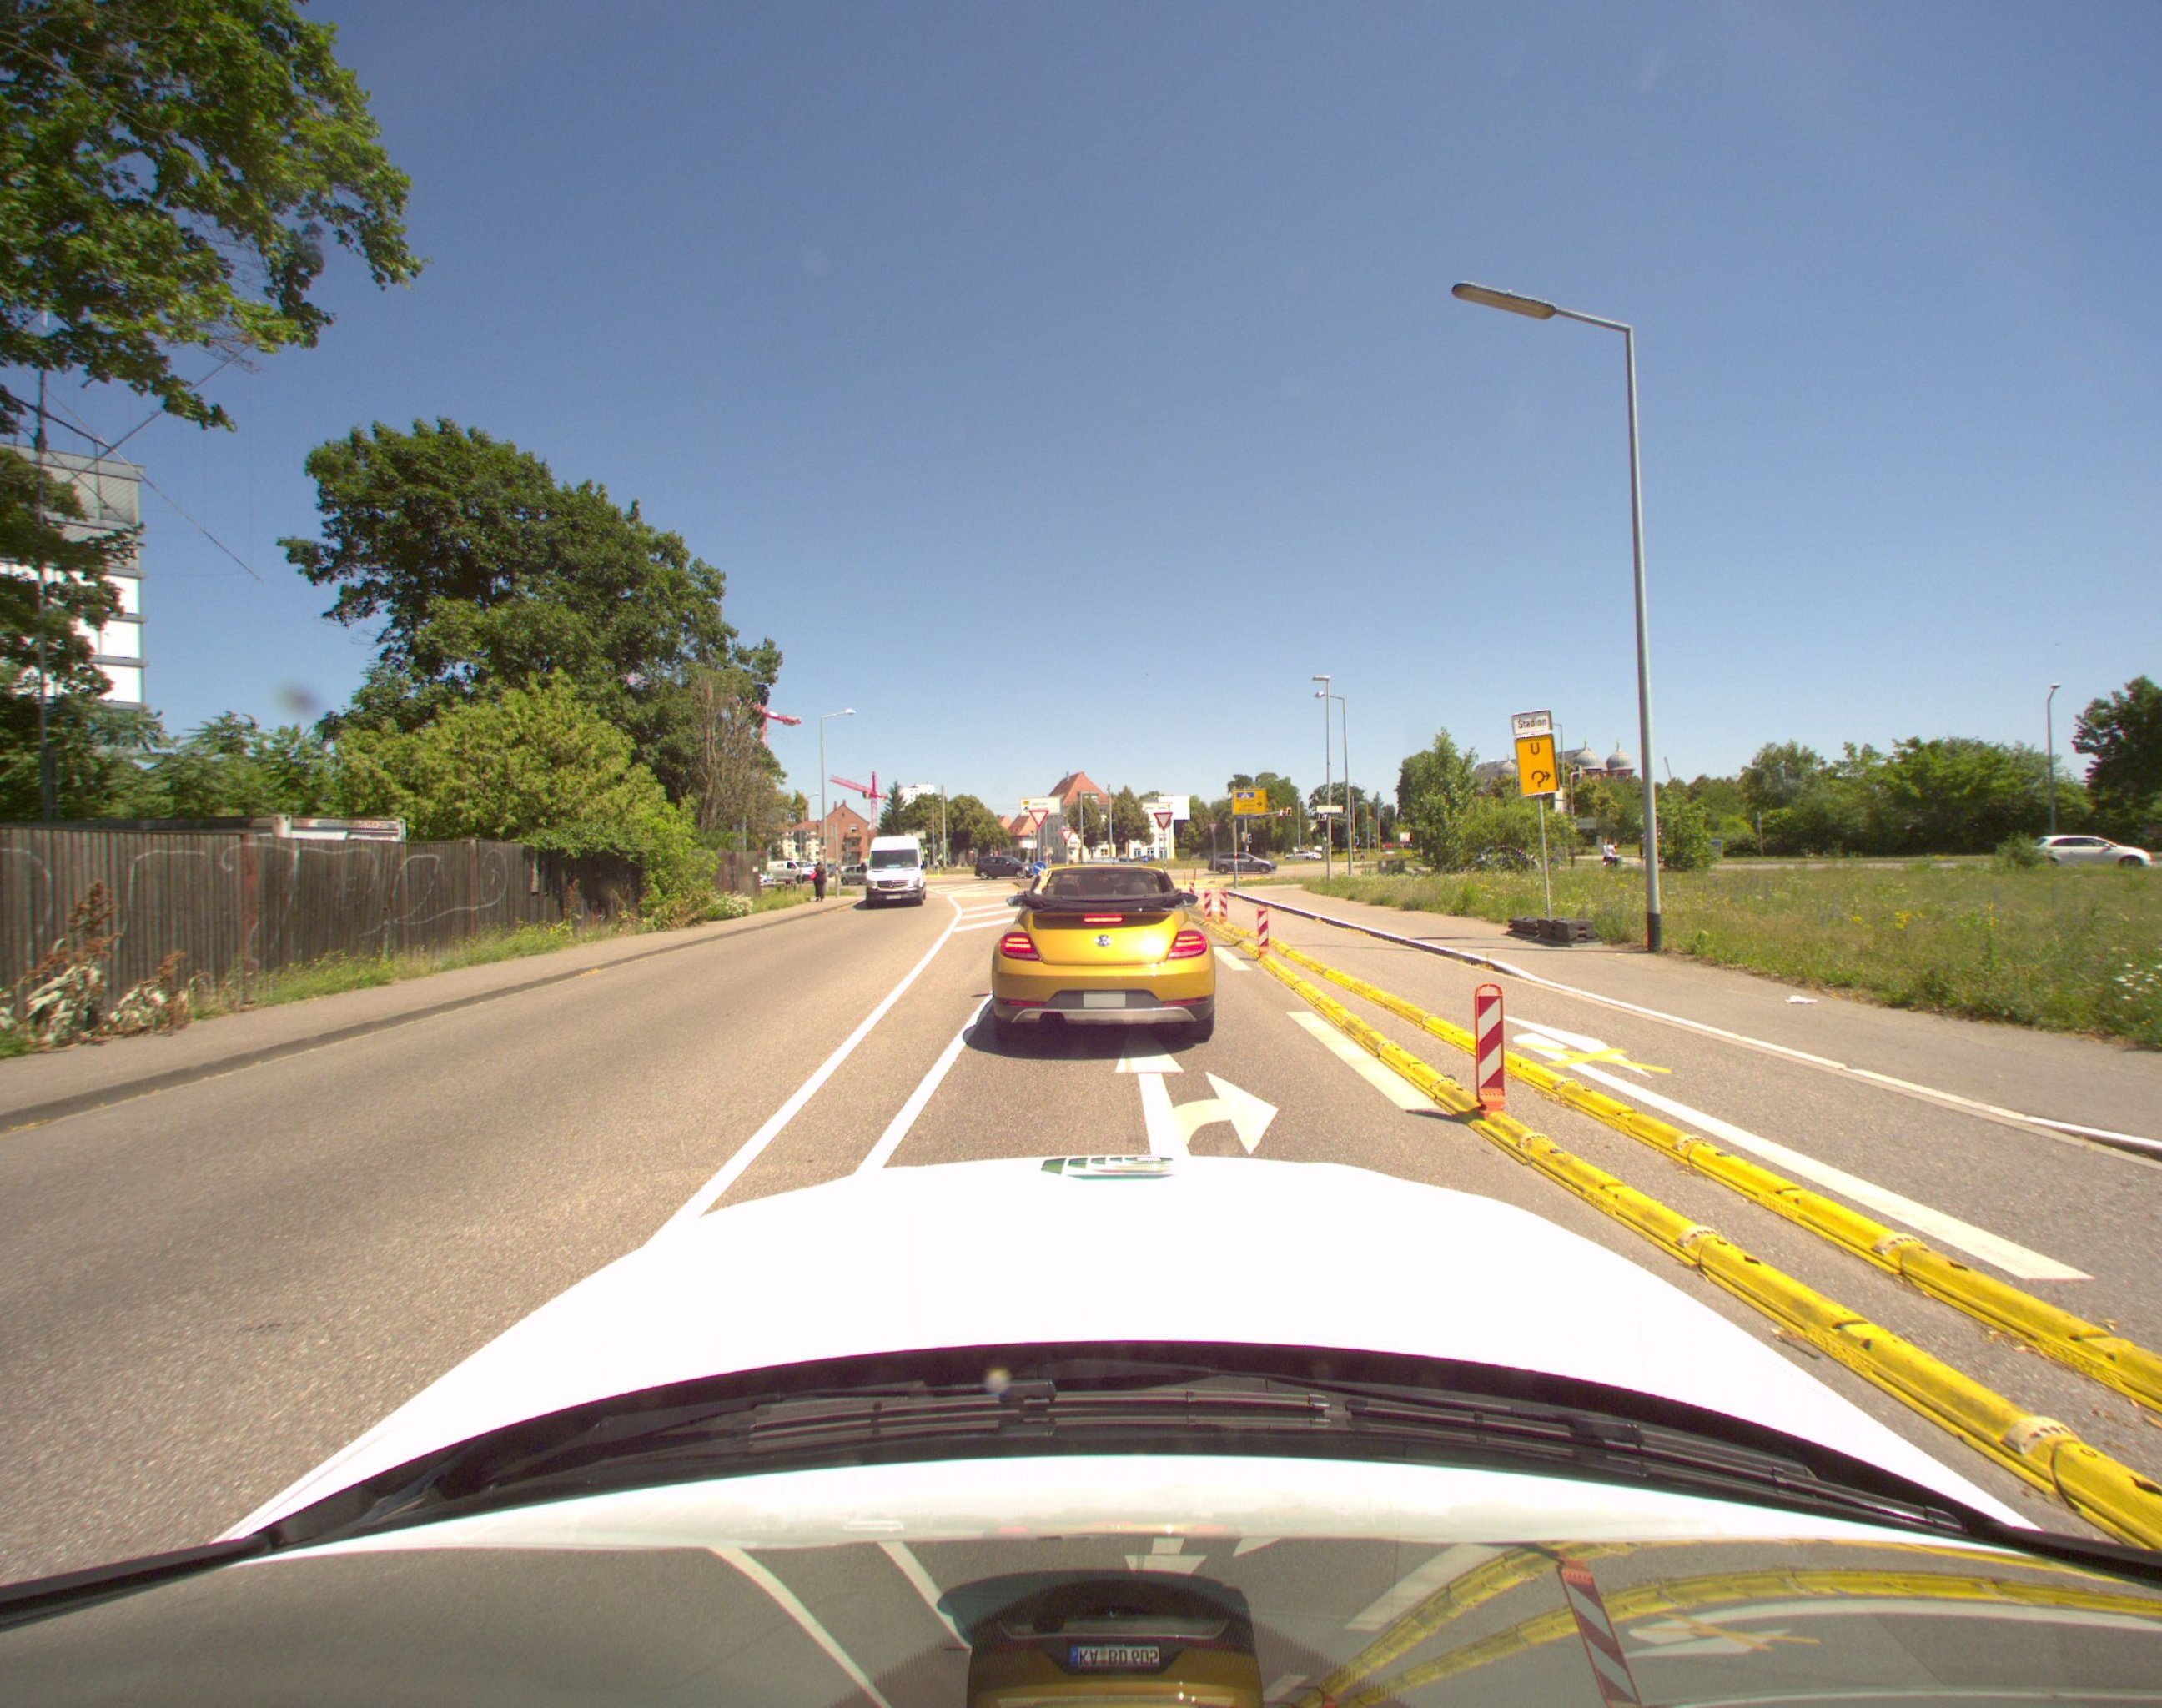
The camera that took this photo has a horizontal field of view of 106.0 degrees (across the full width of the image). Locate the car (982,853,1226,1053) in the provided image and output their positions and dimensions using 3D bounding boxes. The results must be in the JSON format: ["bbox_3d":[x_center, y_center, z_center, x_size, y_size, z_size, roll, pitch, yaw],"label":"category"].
[{"bbox_3d":[0.218,0.727,7.777,1.746,1.422,3.778,-1,0,1],"label":"car"}]

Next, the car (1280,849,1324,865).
[{"bbox_3d":[28.477,0.400,104.832,2.037,1.786,5.118,-2,-1,-42],"label":"car"}]

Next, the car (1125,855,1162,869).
[{"bbox_3d":[8.904,1.146,116.191,4.873,1.786,2.037,-3,0,22],"label":"car"}]

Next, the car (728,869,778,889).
[{"bbox_3d":[-24.971,1.909,61.951,3.969,1.444,1.643,-1,-1,34],"label":"car"}]

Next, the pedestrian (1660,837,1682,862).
[{"bbox_3d":[38.260,-0.288,52.831,0.789,1.563,0.823,-1,-1,3],"label":"pedestrian"}]

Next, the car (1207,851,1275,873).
[{"bbox_3d":[10.572,0.511,53.798,4.161,1.391,1.910,-1,-1,17],"label":"car"}]

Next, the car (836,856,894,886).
[{"bbox_3d":[-14.818,1.157,55.836,3.632,1.850,1.642,-3,-1,26],"label":"car"}]

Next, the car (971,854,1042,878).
[{"bbox_3d":[-5.075,0.832,55.916,4.402,1.596,2.007,-1,-1,13],"label":"car"}]

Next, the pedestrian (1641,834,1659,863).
[{"bbox_3d":[36.788,-0.360,52.674,0.647,1.870,0.737,-1,-1,3],"label":"pedestrian"}]

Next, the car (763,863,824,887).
[{"bbox_3d":[-23.091,1.642,65.358,4.922,1.850,2.013,-1,-1,32],"label":"car"}]

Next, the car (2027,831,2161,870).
[{"bbox_3d":[43.040,-0.116,34.222,3.948,1.552,1.751,-1,-1,32],"label":"car"}]

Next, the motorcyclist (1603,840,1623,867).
[{"bbox_3d":[26.177,-0.029,40.077,0.616,1.289,0.576,0,-1,-28],"label":"motorcyclist"}]

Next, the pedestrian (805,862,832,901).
[{"bbox_3d":[-10.588,1.100,32.822,0.806,1.563,0.876,-1,-1,-3],"label":"pedestrian"}]

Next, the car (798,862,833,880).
[{"bbox_3d":[-24.321,1.557,74.703,1.749,1.549,4.002,-1,0,2],"label":"car"}]

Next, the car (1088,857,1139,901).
[{"bbox_3d":[1.168,0.863,29.551,1.730,1.442,4.002,-1,0,2],"label":"car"}]

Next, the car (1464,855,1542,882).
[{"bbox_3d":[25.322,0.858,49.029,3.953,1.552,1.749,-1,-1,20],"label":"car"}]

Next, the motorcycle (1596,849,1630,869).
[{"bbox_3d":[26.156,0.259,40.029,1.712,0.970,0.625,-1,-1,-28],"label":"motorcycle"}]

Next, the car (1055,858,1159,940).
[{"bbox_3d":[0.525,0.823,16.556,1.841,1.442,4.002,-1,0,2],"label":"car"}]

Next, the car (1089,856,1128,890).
[{"bbox_3d":[1.290,0.872,38.115,1.730,1.477,4.002,-1,0,2],"label":"car"}]

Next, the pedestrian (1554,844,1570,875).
[{"bbox_3d":[24.701,0.292,41.795,0.495,1.563,0.514,-1,-1,1],"label":"pedestrian"}]

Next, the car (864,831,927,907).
[{"bbox_3d":[-7.117,0.549,31.387,2.022,2.539,6.798,-2,0,-12],"label":"car"}]
